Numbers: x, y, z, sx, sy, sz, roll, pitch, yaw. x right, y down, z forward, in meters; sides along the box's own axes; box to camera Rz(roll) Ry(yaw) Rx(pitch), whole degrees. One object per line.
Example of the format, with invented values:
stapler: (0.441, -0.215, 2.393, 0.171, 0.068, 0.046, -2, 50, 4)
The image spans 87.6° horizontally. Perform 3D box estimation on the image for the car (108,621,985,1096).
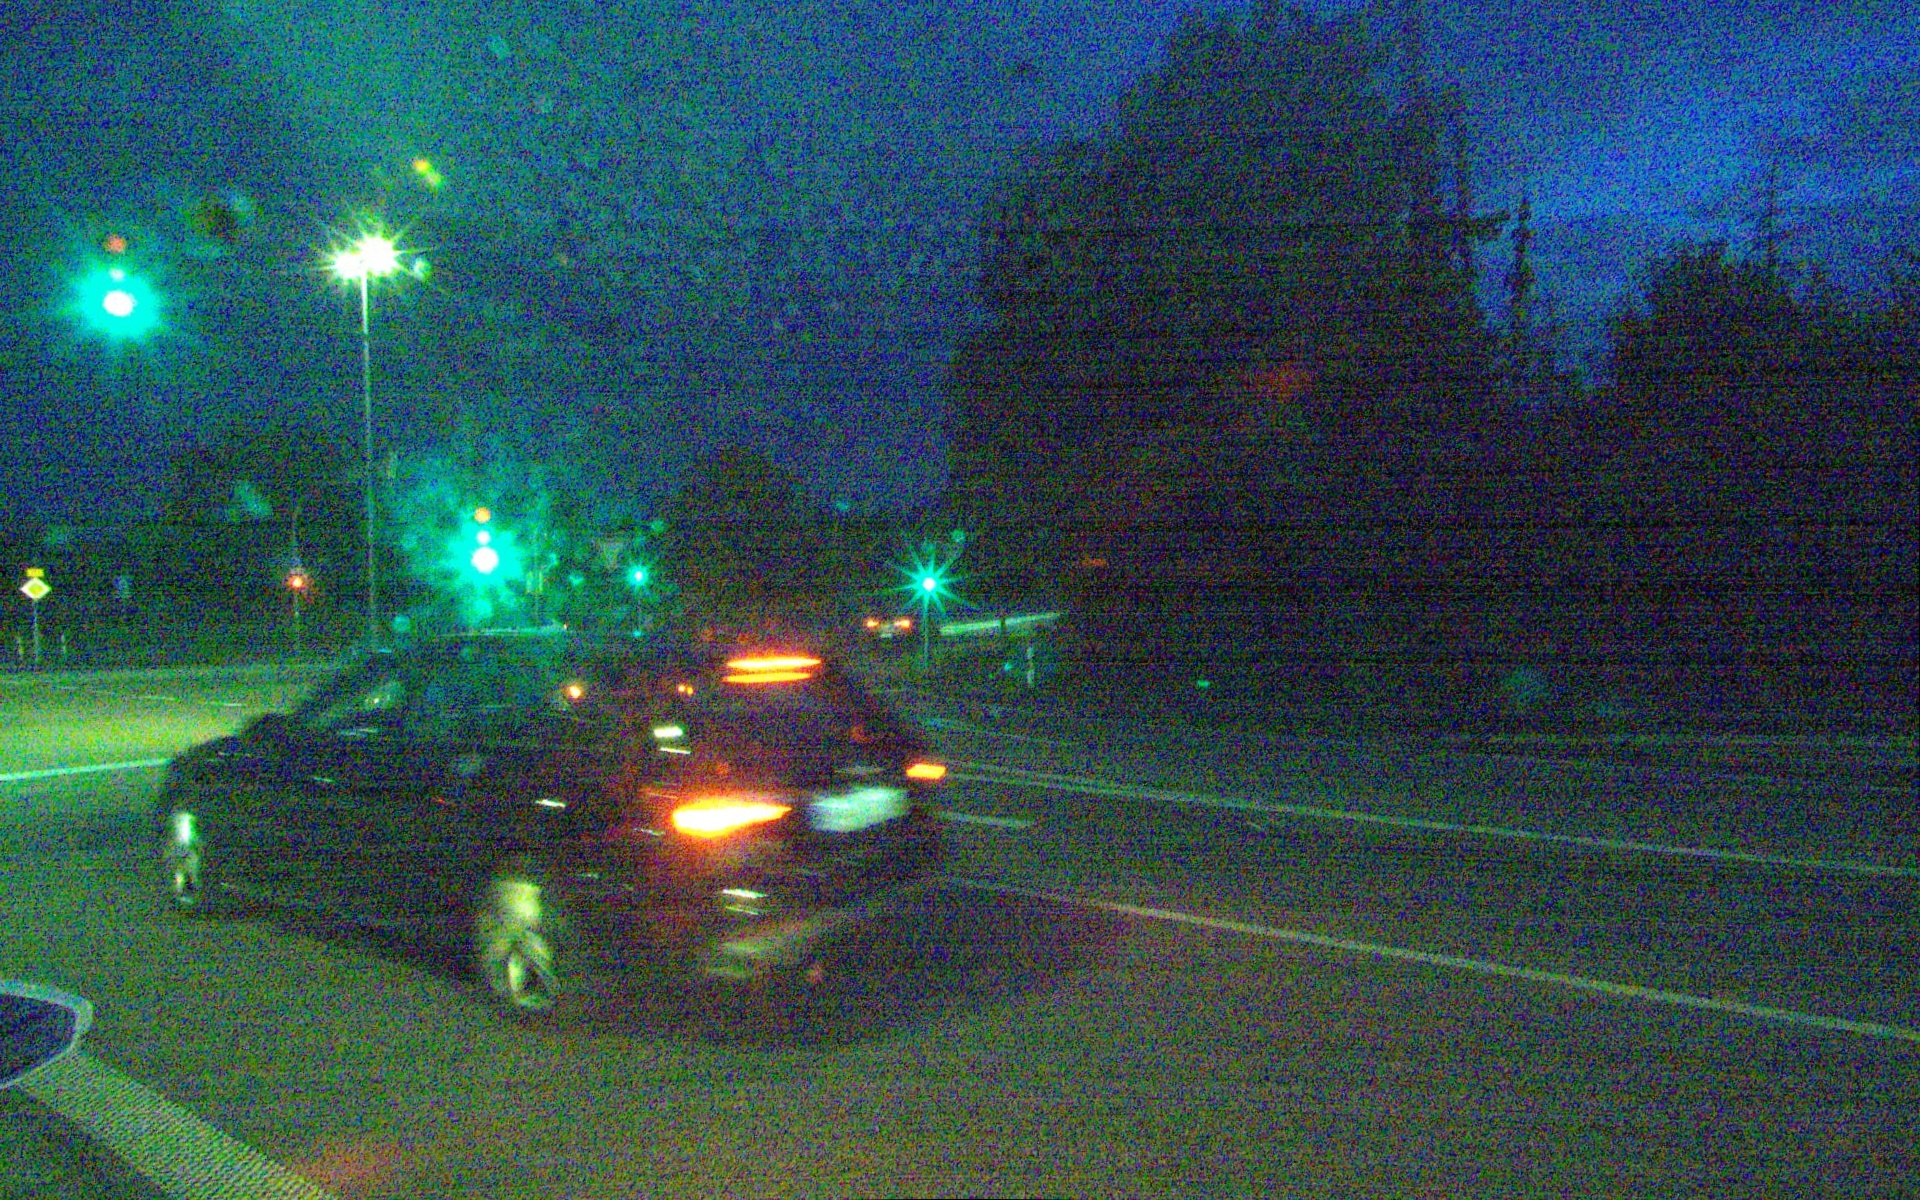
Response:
car: (-2.247, 0.861, 5.033, 4.468, 1.462, 1.788, -1, -2, 31)

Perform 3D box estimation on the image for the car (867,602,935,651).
car: (-2.311, 1.022, 40.282, 1.707, 1.595, 4.053, 2, 3, 12)

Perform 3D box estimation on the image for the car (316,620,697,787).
car: (-4.843, 0.948, 10.562, 4.056, 1.462, 1.617, -1, -1, 30)
